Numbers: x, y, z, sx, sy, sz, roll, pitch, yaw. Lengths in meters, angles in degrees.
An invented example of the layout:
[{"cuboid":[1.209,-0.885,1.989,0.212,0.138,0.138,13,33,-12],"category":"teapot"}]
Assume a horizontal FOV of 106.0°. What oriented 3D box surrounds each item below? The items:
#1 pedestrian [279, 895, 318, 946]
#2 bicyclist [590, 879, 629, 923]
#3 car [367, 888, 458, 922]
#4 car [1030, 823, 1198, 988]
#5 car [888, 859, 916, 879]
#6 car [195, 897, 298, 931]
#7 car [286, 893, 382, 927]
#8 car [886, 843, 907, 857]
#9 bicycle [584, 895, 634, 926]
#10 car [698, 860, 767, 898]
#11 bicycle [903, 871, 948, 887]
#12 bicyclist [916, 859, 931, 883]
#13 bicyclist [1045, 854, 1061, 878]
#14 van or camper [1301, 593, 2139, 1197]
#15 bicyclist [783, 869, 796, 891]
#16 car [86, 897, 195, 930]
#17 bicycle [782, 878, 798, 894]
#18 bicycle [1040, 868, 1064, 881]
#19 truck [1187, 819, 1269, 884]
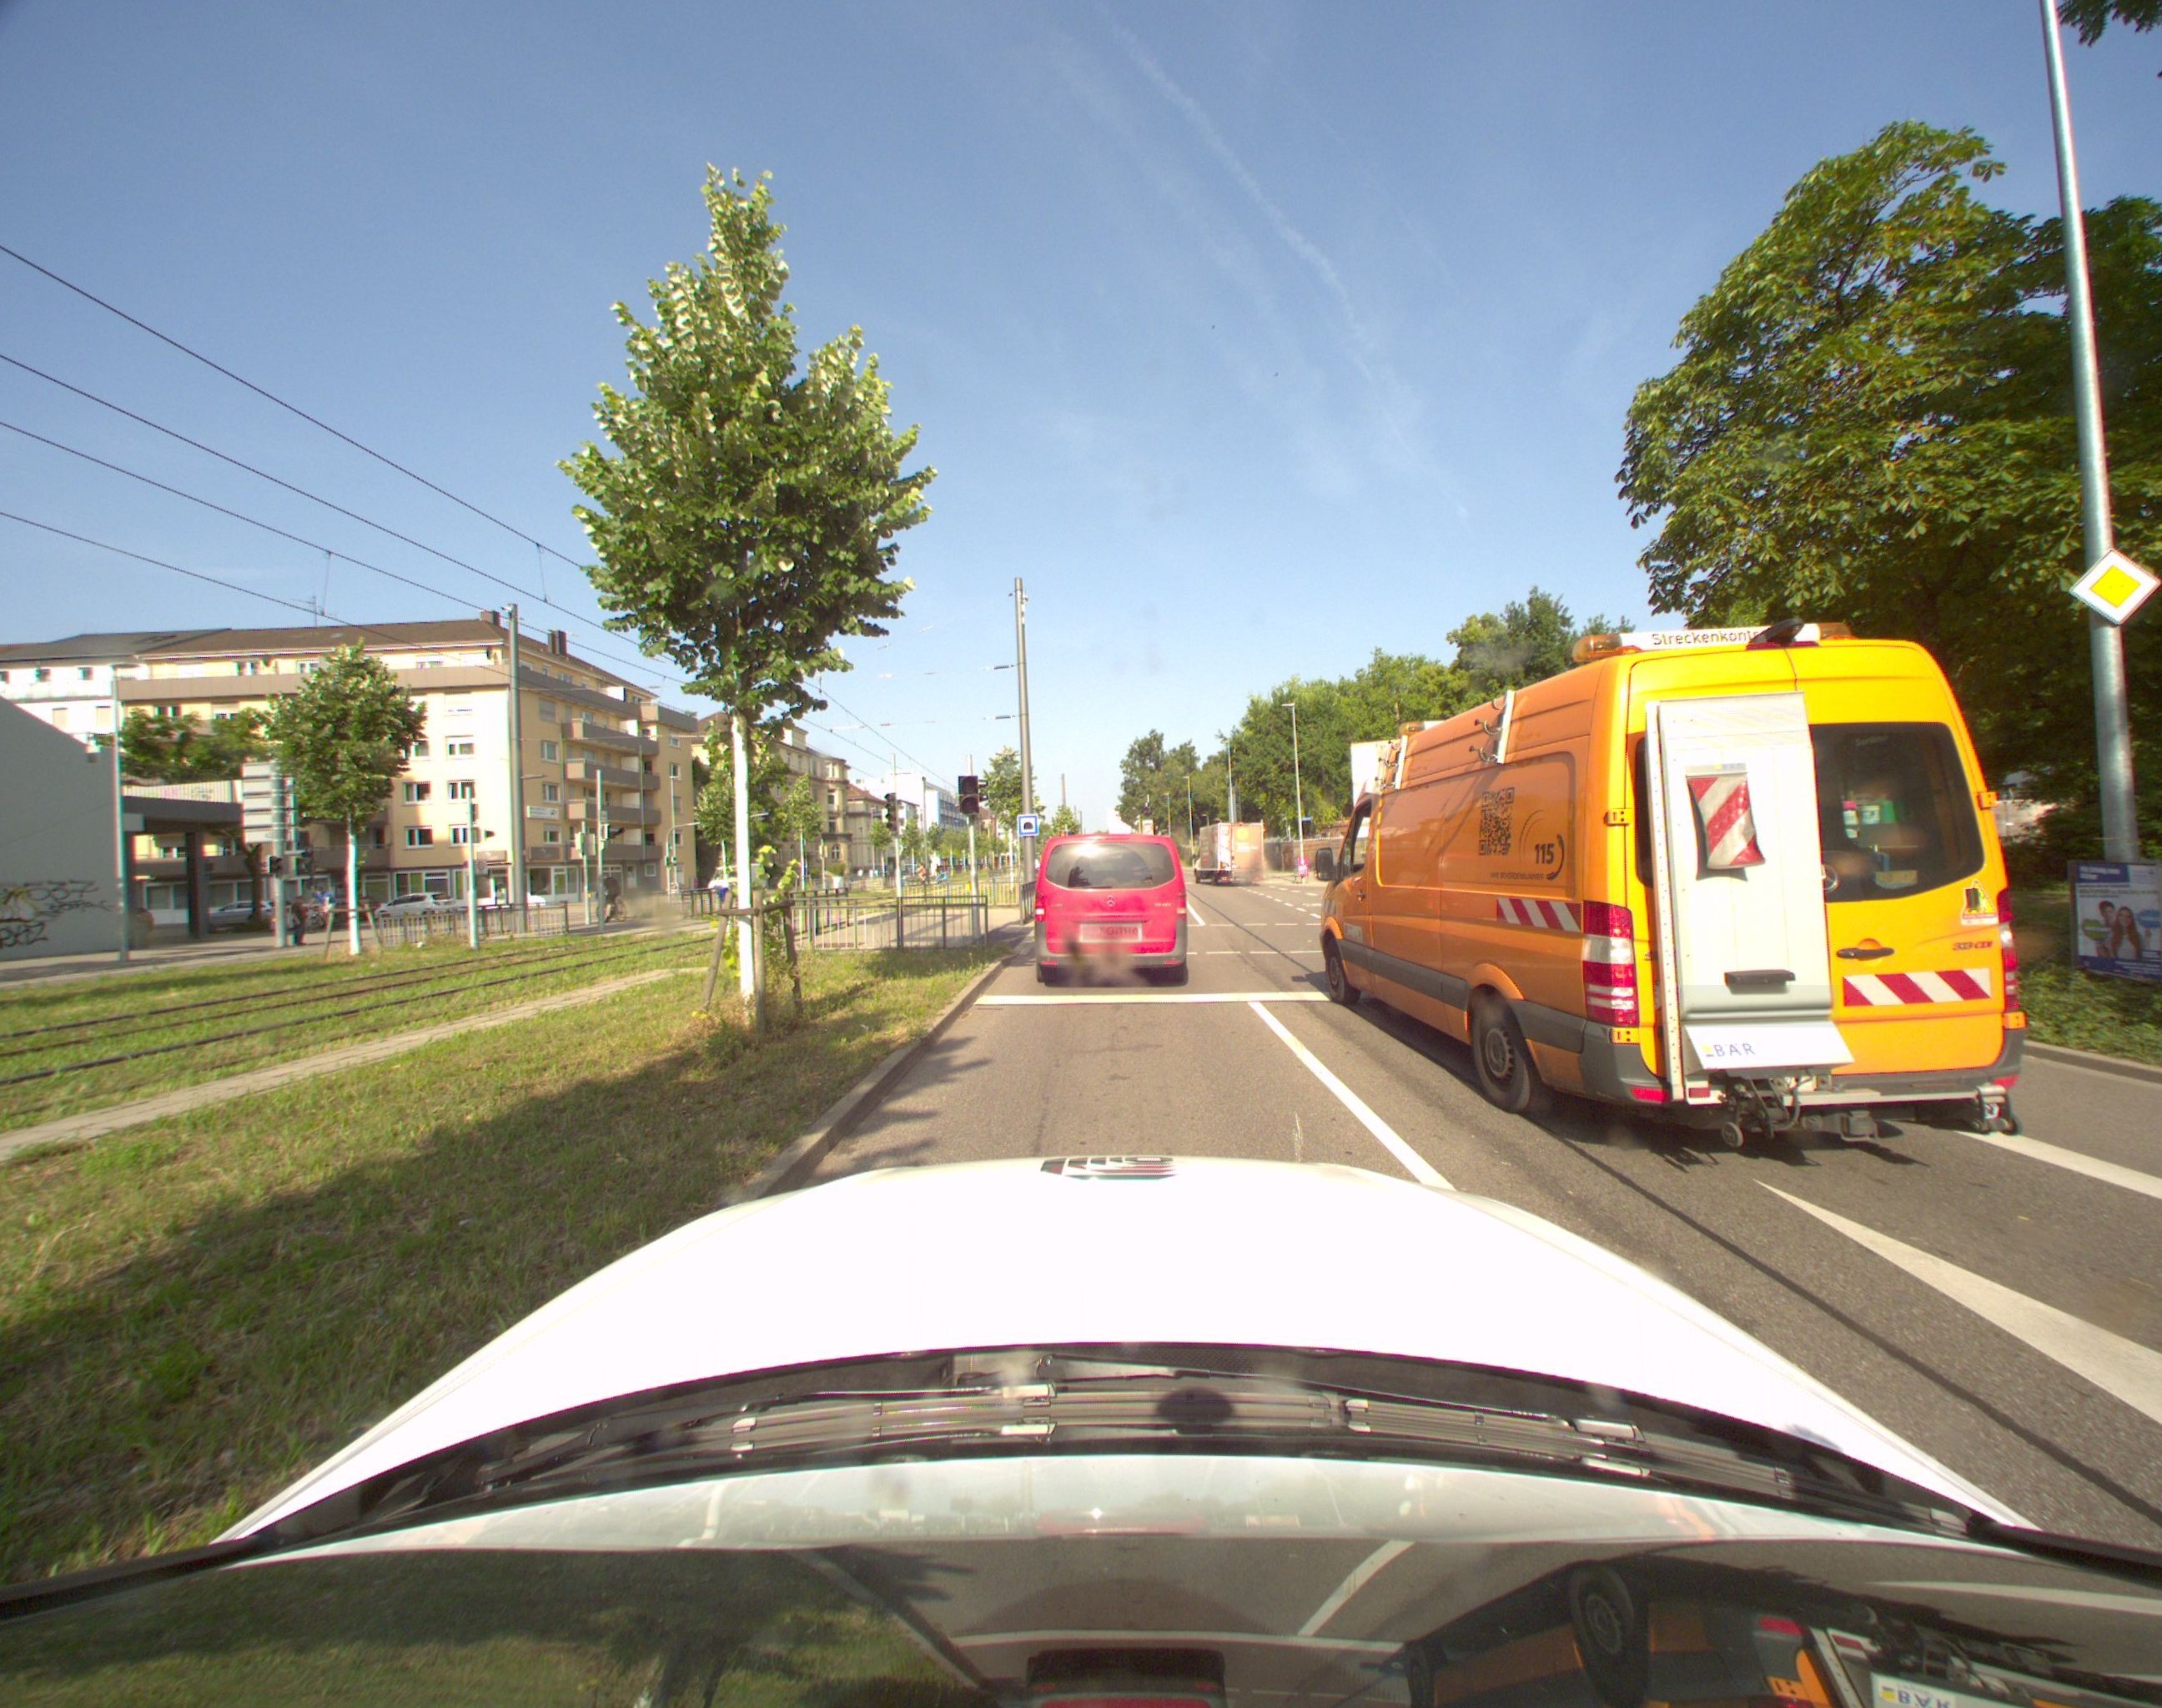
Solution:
[{"cuboid":[-27.211,2.309,28.325,0.655,1.690,0.646,-3,-1,4],"category":"pedestrian"},{"cuboid":[-16.285,1.624,28.136,0.962,1.395,0.549,-5,0,21],"category":"bicyclist"},{"cuboid":[-38.473,2.914,46.929,3.614,1.583,1.708,-3,2,-2],"category":"car"},{"cuboid":[0.478,0.598,11.269,1.893,1.859,4.003,-1,0,3],"category":"car"},{"cuboid":[-19.693,1.661,89.805,1.986,2.013,4.002,-4,-1,2],"category":"car"},{"cuboid":[-47.966,3.436,46.873,3.930,1.604,1.814,-3,-1,-3],"category":"car"},{"cuboid":[-43.011,3.206,46.968,3.777,1.688,1.773,-3,-1,-2],"category":"car"},{"cuboid":[-29.598,-0.550,130.783,2.242,2.014,5.261,0,-2,0],"category":"car"},{"cuboid":[-16.313,1.956,28.160,1.593,0.935,0.560,-5,0,22],"category":"bicycle"},{"cuboid":[-22.378,1.551,52.589,2.039,2.238,5.335,-2,0,1],"category":"car"},{"cuboid":[-10.797,1.710,56.589,2.985,0.965,0.898,-2,-1,-7],"category":"bicycle"},{"cuboid":[-10.915,1.201,56.578,0.889,1.628,0.890,-2,-1,-7],"category":"bicyclist"},{"cuboid":[-1.762,0.747,50.761,0.679,1.440,0.811,-1,-1,30],"category":"bicyclist"},{"cuboid":[3.442,0.215,6.408,1.978,2.472,6.064,-1,-1,2],"category":"van or camper"},{"cuboid":[-24.874,2.191,69.583,0.667,1.805,1.083,-2,-1,-2],"category":"bicyclist"},{"cuboid":[-54.063,3.404,46.878,3.931,1.604,1.813,-3,-1,-4],"category":"car"},{"cuboid":[-24.840,2.725,69.539,0.693,1.346,1.756,-2,-1,-2],"category":"bicycle"},{"cuboid":[-1.797,1.250,50.660,0.711,0.798,1.613,-1,-1,29],"category":"bicycle"},{"cuboid":[7.450,-0.084,42.376,2.496,3.061,7.811,0,-1,-3],"category":"truck"}]
